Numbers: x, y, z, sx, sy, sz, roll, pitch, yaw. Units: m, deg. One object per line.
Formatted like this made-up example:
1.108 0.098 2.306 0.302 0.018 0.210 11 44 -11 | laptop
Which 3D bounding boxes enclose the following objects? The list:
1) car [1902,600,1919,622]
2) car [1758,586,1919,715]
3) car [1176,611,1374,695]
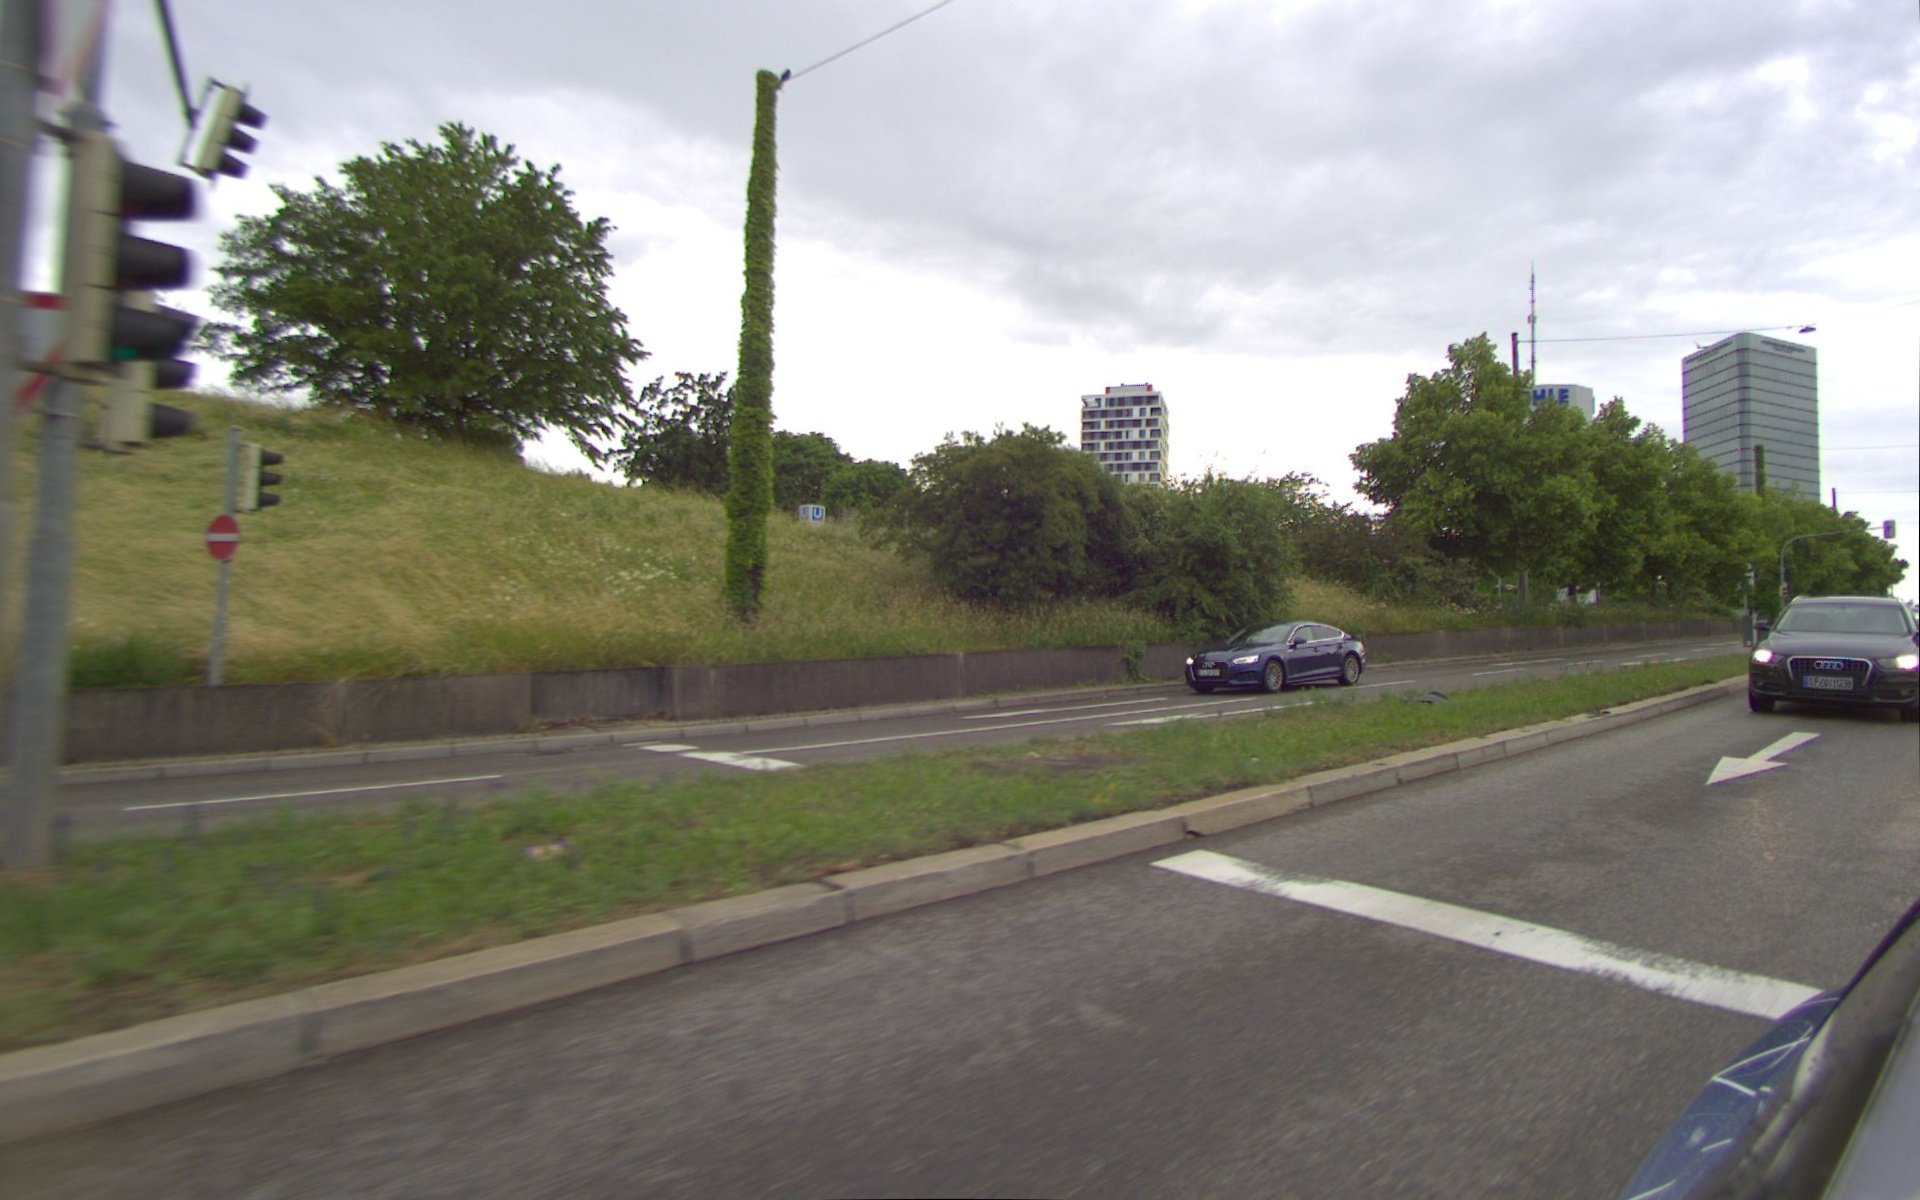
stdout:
72.556 0.825 76.532 1.628 1.495 3.622 -2 -4 40 | car
12.600 0.607 14.147 4.058 1.553 1.726 -1 -1 -44 | car
6.488 1.010 20.642 4.272 1.444 1.874 -1 -1 -41 | car
